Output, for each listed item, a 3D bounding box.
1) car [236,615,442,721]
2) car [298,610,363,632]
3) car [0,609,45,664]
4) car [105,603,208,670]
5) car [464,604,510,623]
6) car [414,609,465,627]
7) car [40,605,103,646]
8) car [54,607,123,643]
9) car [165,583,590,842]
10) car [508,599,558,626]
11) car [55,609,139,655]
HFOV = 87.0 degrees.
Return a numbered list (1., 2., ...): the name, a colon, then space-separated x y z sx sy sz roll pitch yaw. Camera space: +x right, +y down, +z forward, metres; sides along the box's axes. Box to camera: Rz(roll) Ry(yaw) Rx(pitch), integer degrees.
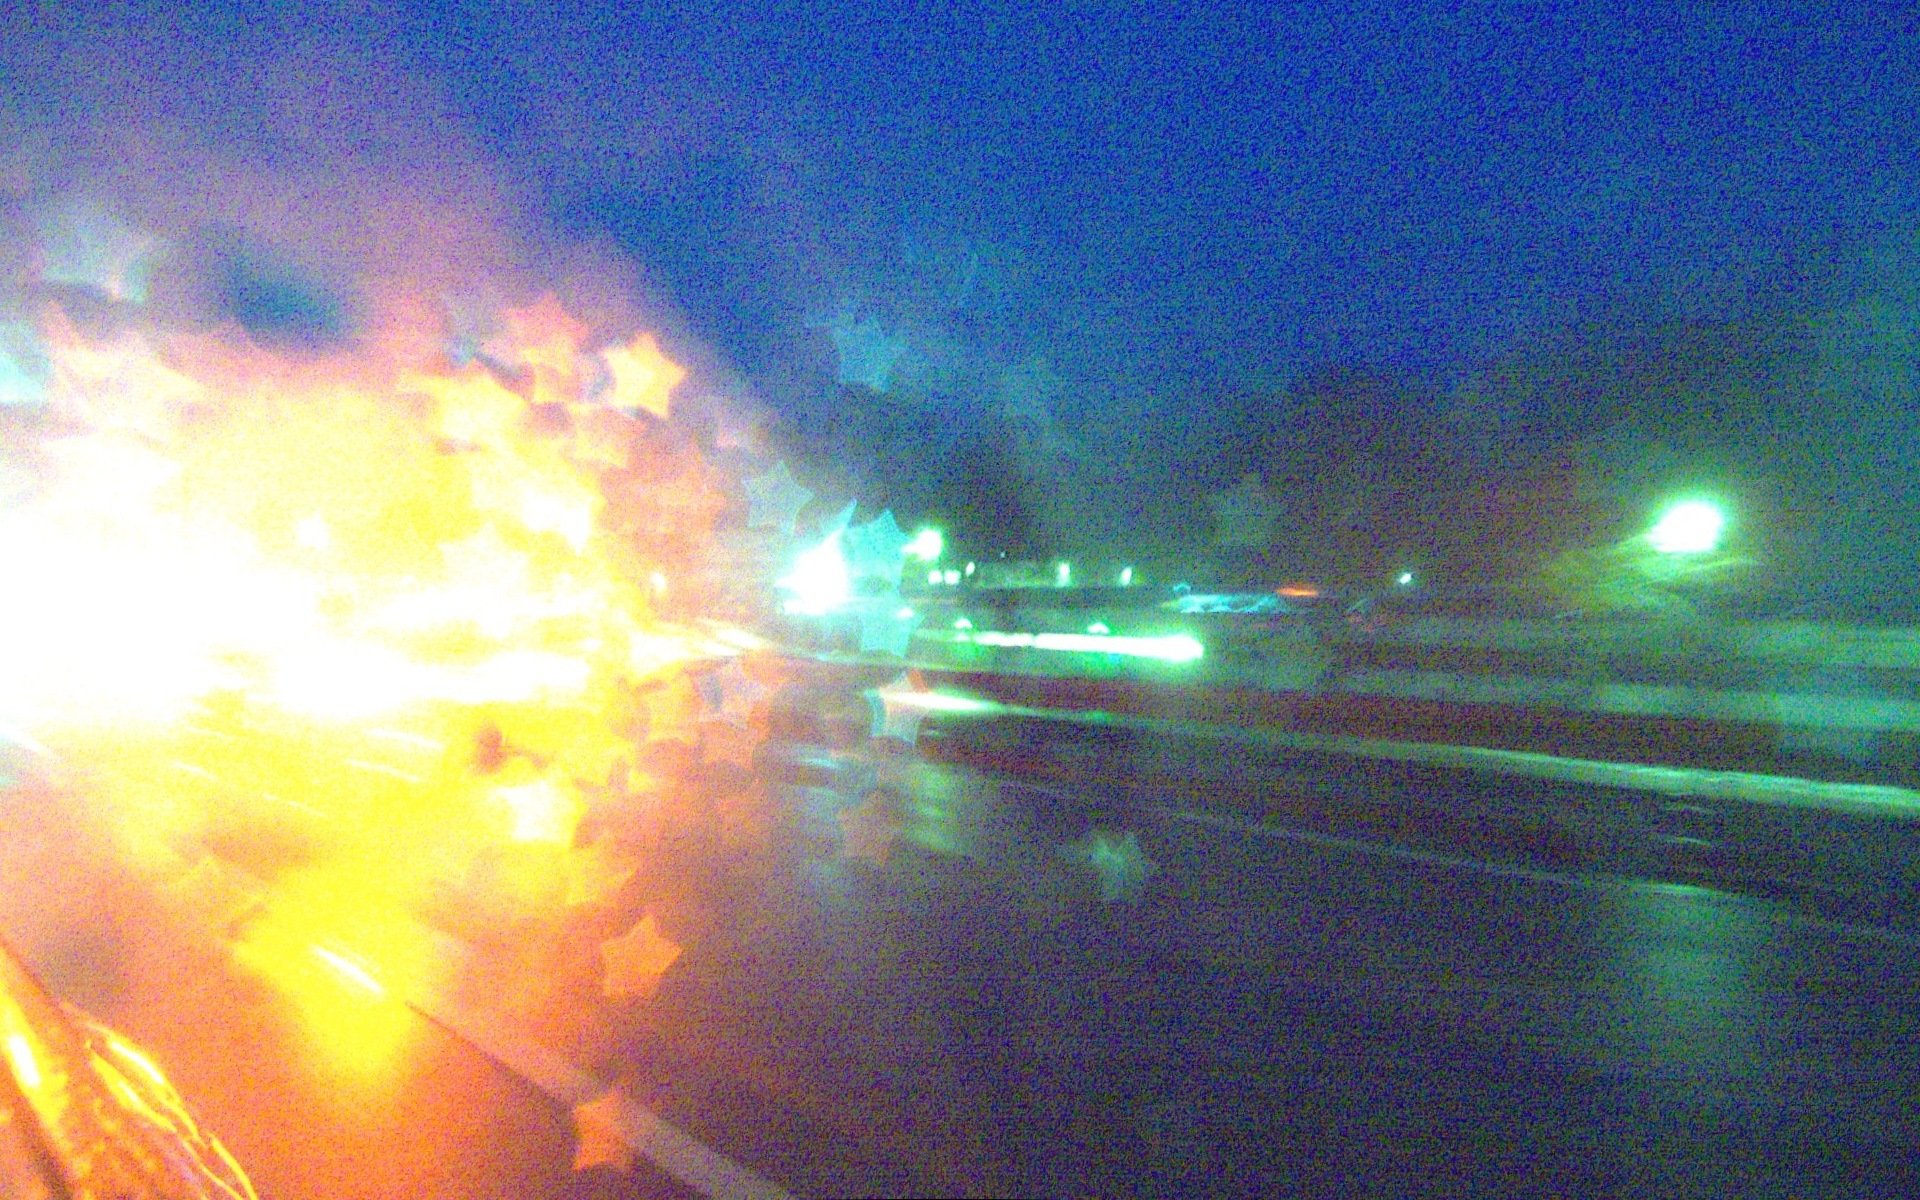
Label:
1. car: -9.954 0.960 16.042 1.783 1.393 4.775 0 0 -44
2. car: -56.095 1.884 90.285 4.448 1.858 2.005 0 -2 -13
3. car: -29.421 1.096 30.833 2.086 1.587 4.682 0 0 -45
4. car: -24.524 1.065 30.813 1.970 1.879 5.323 0 -1 -44
5. car: -43.871 1.229 93.917 4.436 1.706 1.831 -1 0 34
6. car: -49.421 1.719 96.138 3.962 1.603 1.991 -1 0 14
7. car: -45.762 1.281 52.084 4.998 2.029 2.129 -1 0 45
8. car: -40.394 1.150 46.873 2.156 1.570 5.208 0 -1 -44
9. car: -5.004 0.730 8.455 4.084 1.627 1.903 -1 0 42
10. car: -37.646 1.079 89.105 1.971 2.325 6.025 0 0 -45
11. car: -31.771 1.139 37.205 2.059 1.554 4.902 0 -1 -44
